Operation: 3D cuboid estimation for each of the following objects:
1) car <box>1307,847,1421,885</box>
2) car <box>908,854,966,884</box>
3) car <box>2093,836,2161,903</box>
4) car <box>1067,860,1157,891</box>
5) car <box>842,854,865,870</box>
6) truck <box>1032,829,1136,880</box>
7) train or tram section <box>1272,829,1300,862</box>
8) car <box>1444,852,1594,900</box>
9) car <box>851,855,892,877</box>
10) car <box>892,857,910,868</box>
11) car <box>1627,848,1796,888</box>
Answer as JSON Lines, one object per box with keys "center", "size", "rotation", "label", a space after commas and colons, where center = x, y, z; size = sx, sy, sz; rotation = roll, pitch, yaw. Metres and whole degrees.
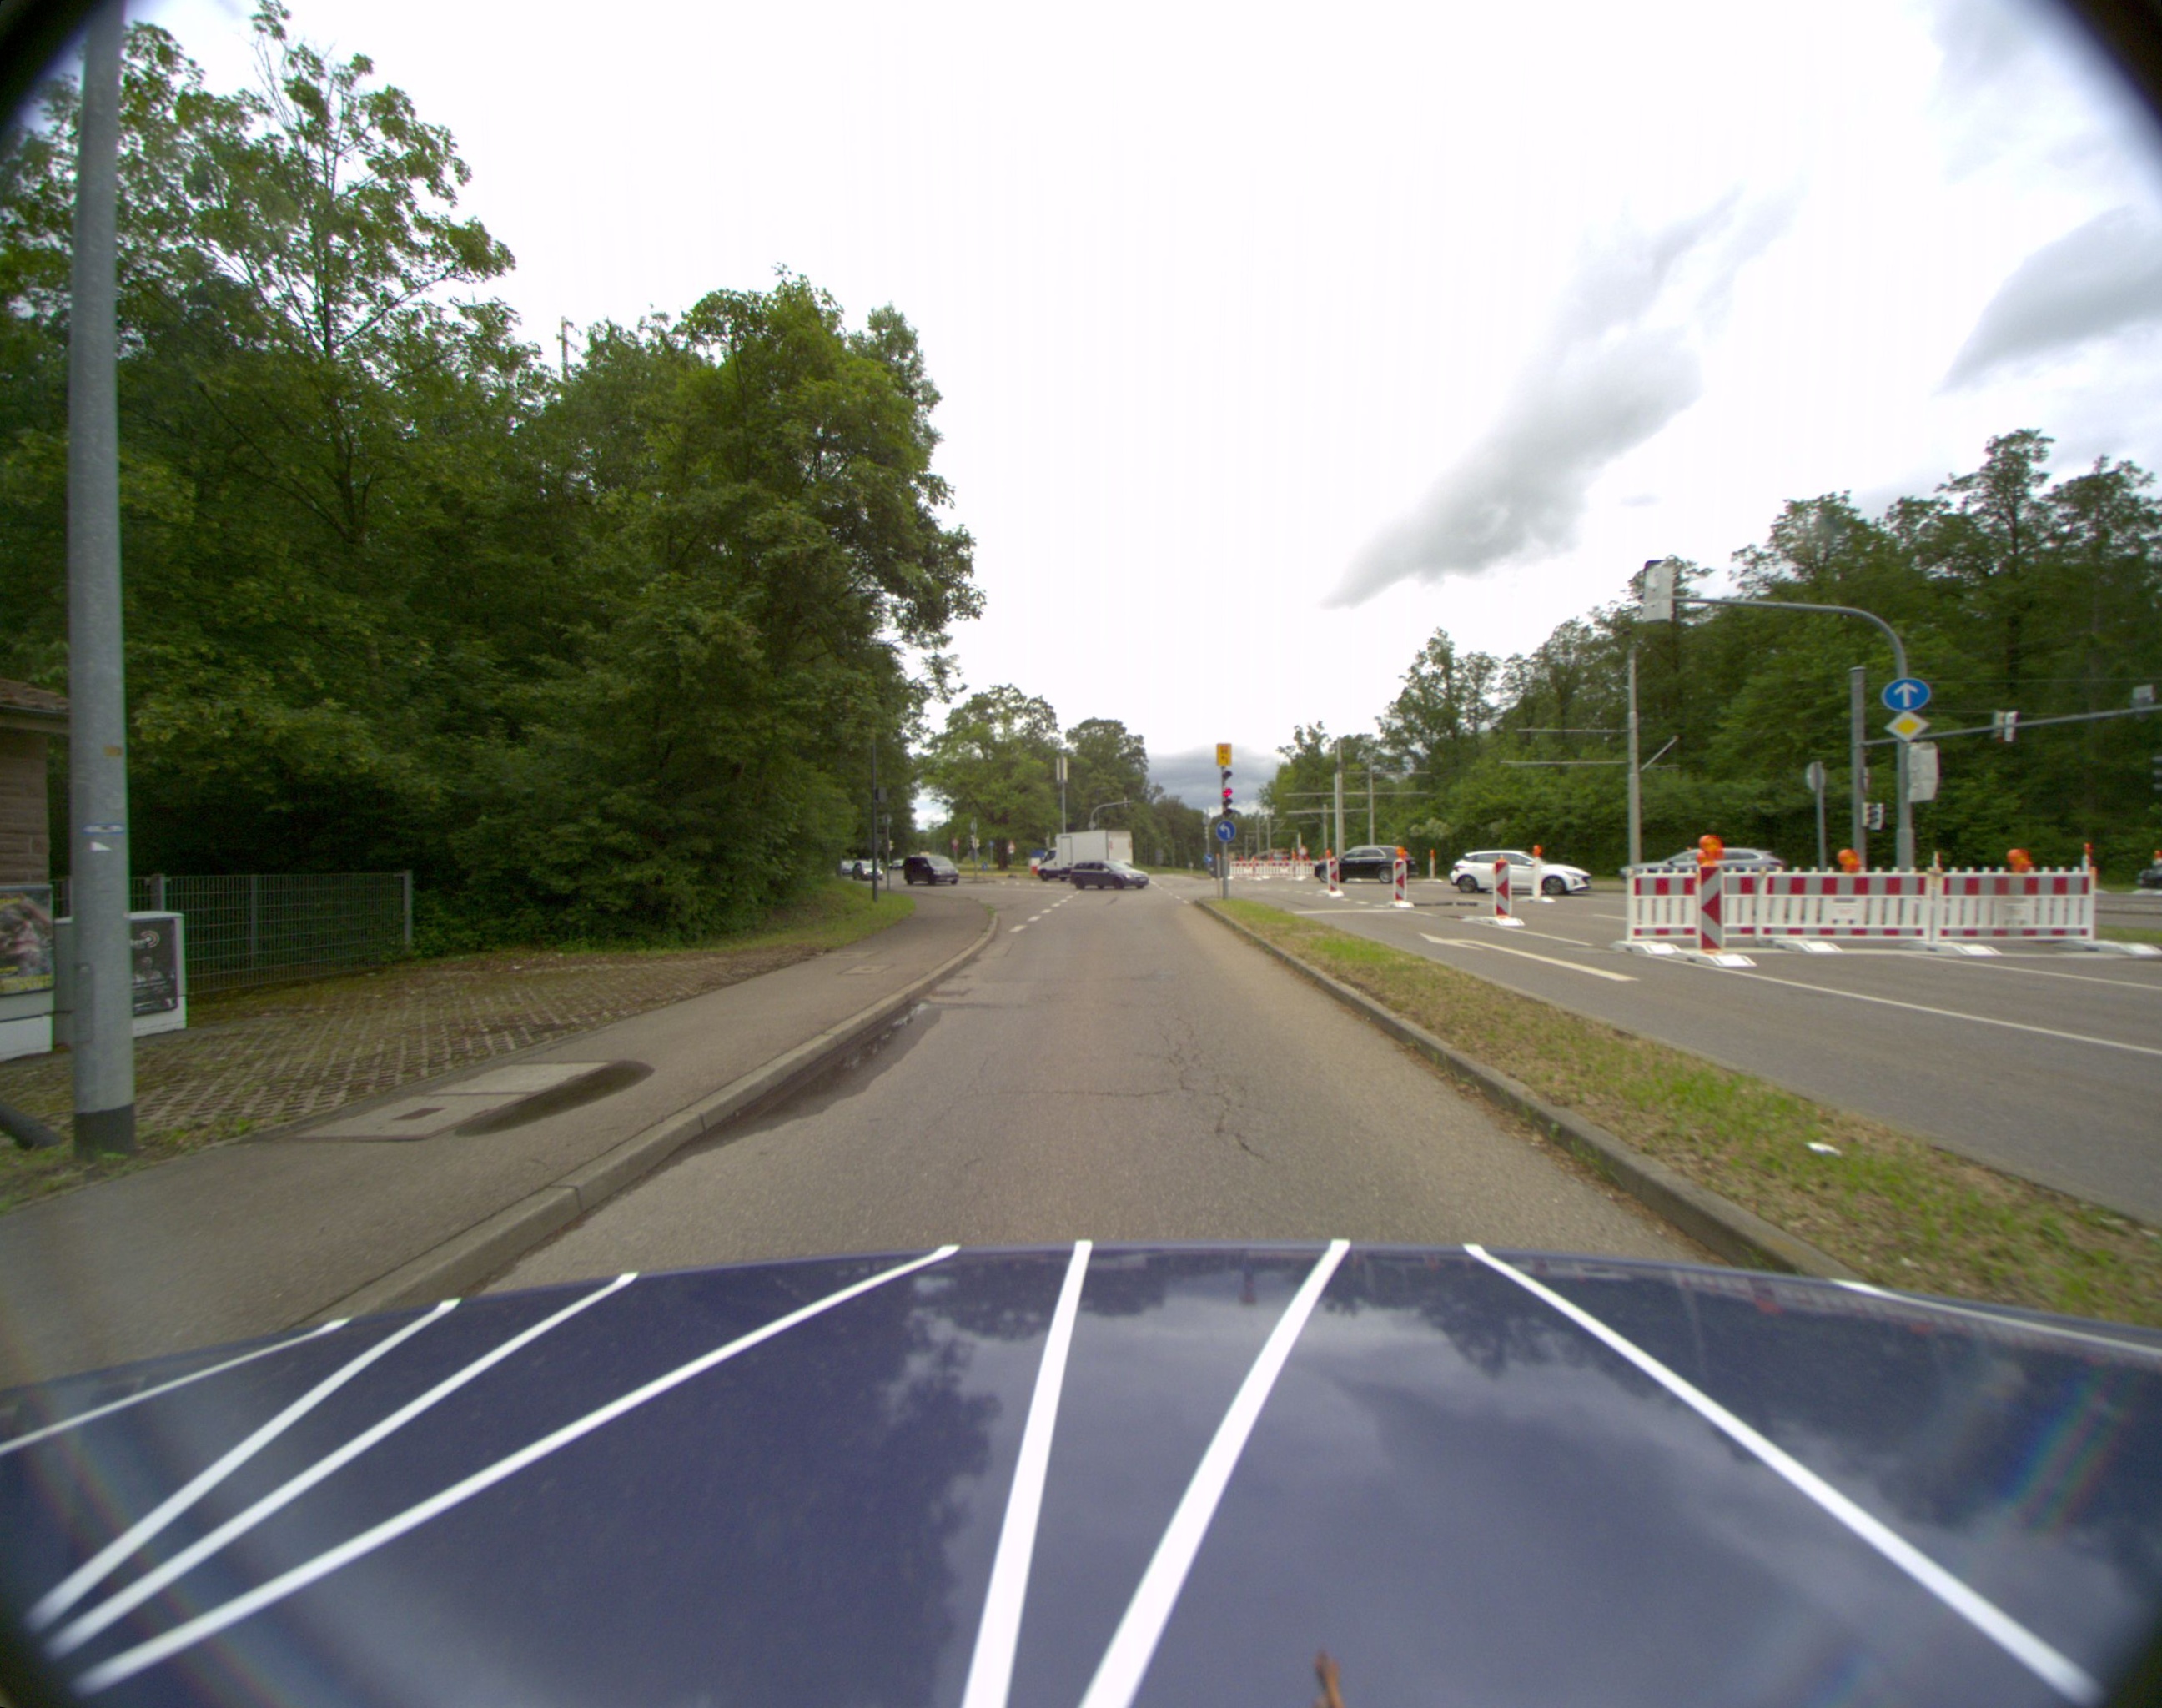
{"center": [13.758, 0.551, 37.105], "size": [4.832, 1.740, 1.972], "rotation": [0, 0, 41], "label": "car"}
{"center": [-9.647, 0.954, 50.616], "size": [1.996, 1.862, 4.519], "rotation": [0, 0, -38], "label": "car"}
{"center": [31.431, 0.418, 20.525], "size": [4.676, 1.834, 1.972], "rotation": [0, 0, 45], "label": "car"}
{"center": [1.485, 1.037, 38.055], "size": [1.808, 1.470, 4.457], "rotation": [0, 0, -44], "label": "car"}
{"center": [-21.076, 0.731, 70.344], "size": [1.780, 1.491, 3.868], "rotation": [0, 0, -13], "label": "car"}
{"center": [0.069, 0.038, 50.336], "size": [7.134, 3.205, 2.462], "rotation": [0, 0, 44], "label": "truck"}
{"center": [30.674, -1.430, 114.212], "size": [2.951, 4.624, 18.558], "rotation": [1, 2, 12], "label": "train or tram section"}
{"center": [14.545, 0.673, 25.381], "size": [4.061, 1.470, 1.659], "rotation": [0, 0, 43], "label": "car"}
{"center": [-16.624, 0.967, 60.092], "size": [1.798, 1.664, 3.981], "rotation": [0, -2, -36], "label": "car"}
{"center": [-23.551, 1.082, 99.710], "size": [1.779, 1.491, 3.871], "rotation": [0, 0, -6], "label": "car"}
{"center": [23.407, 0.501, 28.328], "size": [4.676, 1.353, 1.972], "rotation": [0, 0, 45], "label": "car"}
